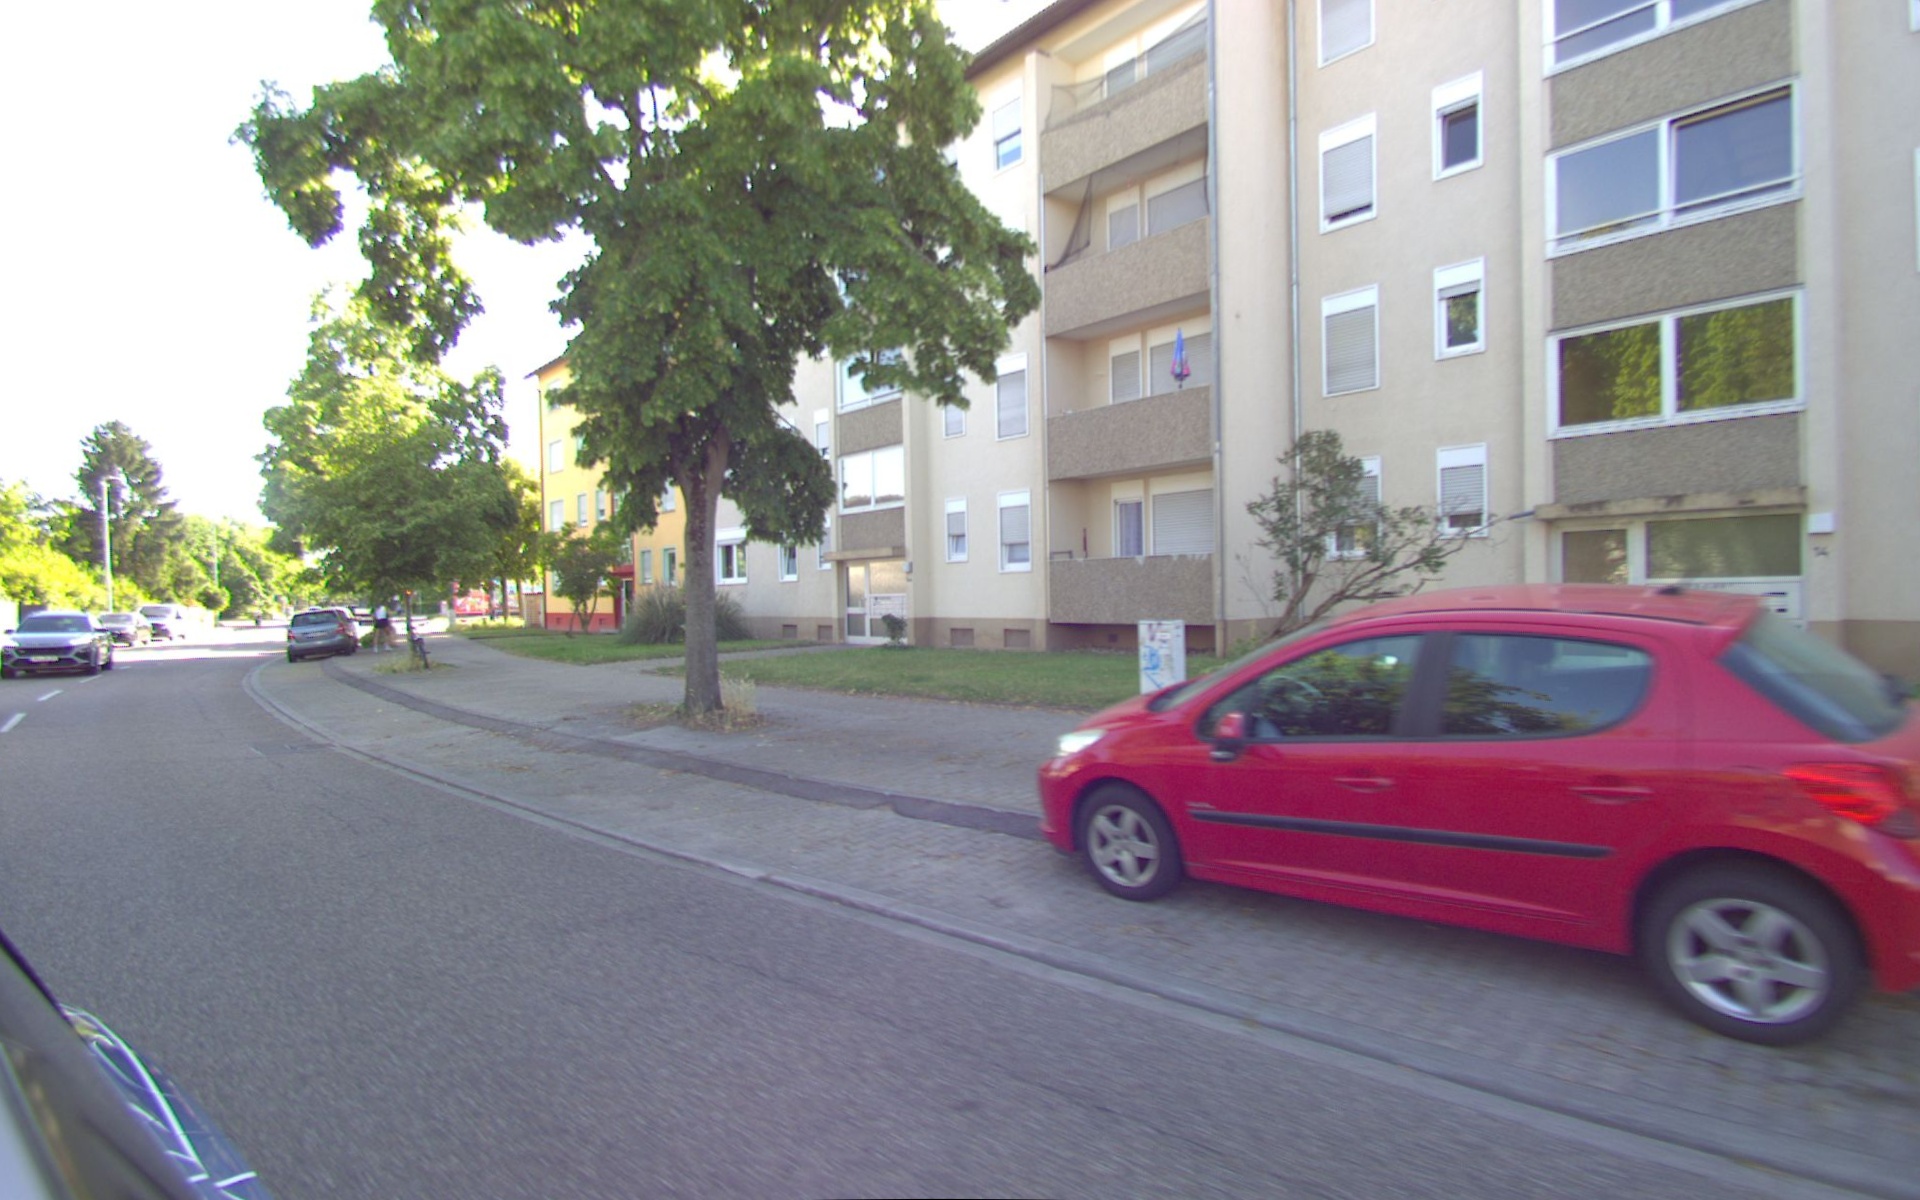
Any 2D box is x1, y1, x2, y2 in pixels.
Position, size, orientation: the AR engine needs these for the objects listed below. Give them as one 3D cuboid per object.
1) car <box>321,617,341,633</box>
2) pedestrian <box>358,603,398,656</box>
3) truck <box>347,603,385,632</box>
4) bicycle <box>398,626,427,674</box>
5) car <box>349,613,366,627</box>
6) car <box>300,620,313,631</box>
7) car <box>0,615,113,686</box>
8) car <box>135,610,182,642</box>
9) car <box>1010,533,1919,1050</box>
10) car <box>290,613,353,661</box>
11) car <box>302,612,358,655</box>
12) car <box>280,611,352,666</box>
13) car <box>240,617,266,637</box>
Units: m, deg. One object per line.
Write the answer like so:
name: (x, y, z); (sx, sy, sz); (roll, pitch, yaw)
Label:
car: (-61.081, 2.377, 98.234); (1.522, 1.476, 3.714); (-2, 0, -33)
pedestrian: (-18.481, 0.934, 32.161); (0.945, 1.641, 0.735); (-1, 0, -17)
truck: (-50.075, 1.458, 85.439); (2.373, 2.384, 4.540); (-1, 0, -26)
bicycle: (-12.206, 1.104, 22.539); (0.352, 1.015, 1.202); (-3, 0, -37)
car: (-69.349, 2.311, 116.476); (1.522, 1.476, 3.714); (-2, 0, -33)
car: (-91.928, 3.523, 142.422); (1.522, 1.476, 3.714); (-2, 0, -33)
car: (-22.507, 1.199, 25.321); (1.555, 1.590, 3.714); (-2, 0, -33)
car: (-42.611, 1.377, 53.855); (1.614, 1.590, 3.714); (-2, 0, -33)
car: (2.284, 0.570, 4.734); (3.909, 1.504, 1.639); (-1, 4, 44)
car: (-22.237, 1.252, 35.365); (1.625, 1.551, 3.715); (-2, 0, -29)
car: (-24.593, 1.270, 39.606); (1.625, 1.551, 3.715); (-2, 0, -29)
car: (-19.840, 1.147, 31.287); (1.625, 1.551, 3.715); (-2, 0, -29)
car: (-59.421, 2.252, 85.077); (1.614, 1.590, 3.714); (-2, 0, -33)
